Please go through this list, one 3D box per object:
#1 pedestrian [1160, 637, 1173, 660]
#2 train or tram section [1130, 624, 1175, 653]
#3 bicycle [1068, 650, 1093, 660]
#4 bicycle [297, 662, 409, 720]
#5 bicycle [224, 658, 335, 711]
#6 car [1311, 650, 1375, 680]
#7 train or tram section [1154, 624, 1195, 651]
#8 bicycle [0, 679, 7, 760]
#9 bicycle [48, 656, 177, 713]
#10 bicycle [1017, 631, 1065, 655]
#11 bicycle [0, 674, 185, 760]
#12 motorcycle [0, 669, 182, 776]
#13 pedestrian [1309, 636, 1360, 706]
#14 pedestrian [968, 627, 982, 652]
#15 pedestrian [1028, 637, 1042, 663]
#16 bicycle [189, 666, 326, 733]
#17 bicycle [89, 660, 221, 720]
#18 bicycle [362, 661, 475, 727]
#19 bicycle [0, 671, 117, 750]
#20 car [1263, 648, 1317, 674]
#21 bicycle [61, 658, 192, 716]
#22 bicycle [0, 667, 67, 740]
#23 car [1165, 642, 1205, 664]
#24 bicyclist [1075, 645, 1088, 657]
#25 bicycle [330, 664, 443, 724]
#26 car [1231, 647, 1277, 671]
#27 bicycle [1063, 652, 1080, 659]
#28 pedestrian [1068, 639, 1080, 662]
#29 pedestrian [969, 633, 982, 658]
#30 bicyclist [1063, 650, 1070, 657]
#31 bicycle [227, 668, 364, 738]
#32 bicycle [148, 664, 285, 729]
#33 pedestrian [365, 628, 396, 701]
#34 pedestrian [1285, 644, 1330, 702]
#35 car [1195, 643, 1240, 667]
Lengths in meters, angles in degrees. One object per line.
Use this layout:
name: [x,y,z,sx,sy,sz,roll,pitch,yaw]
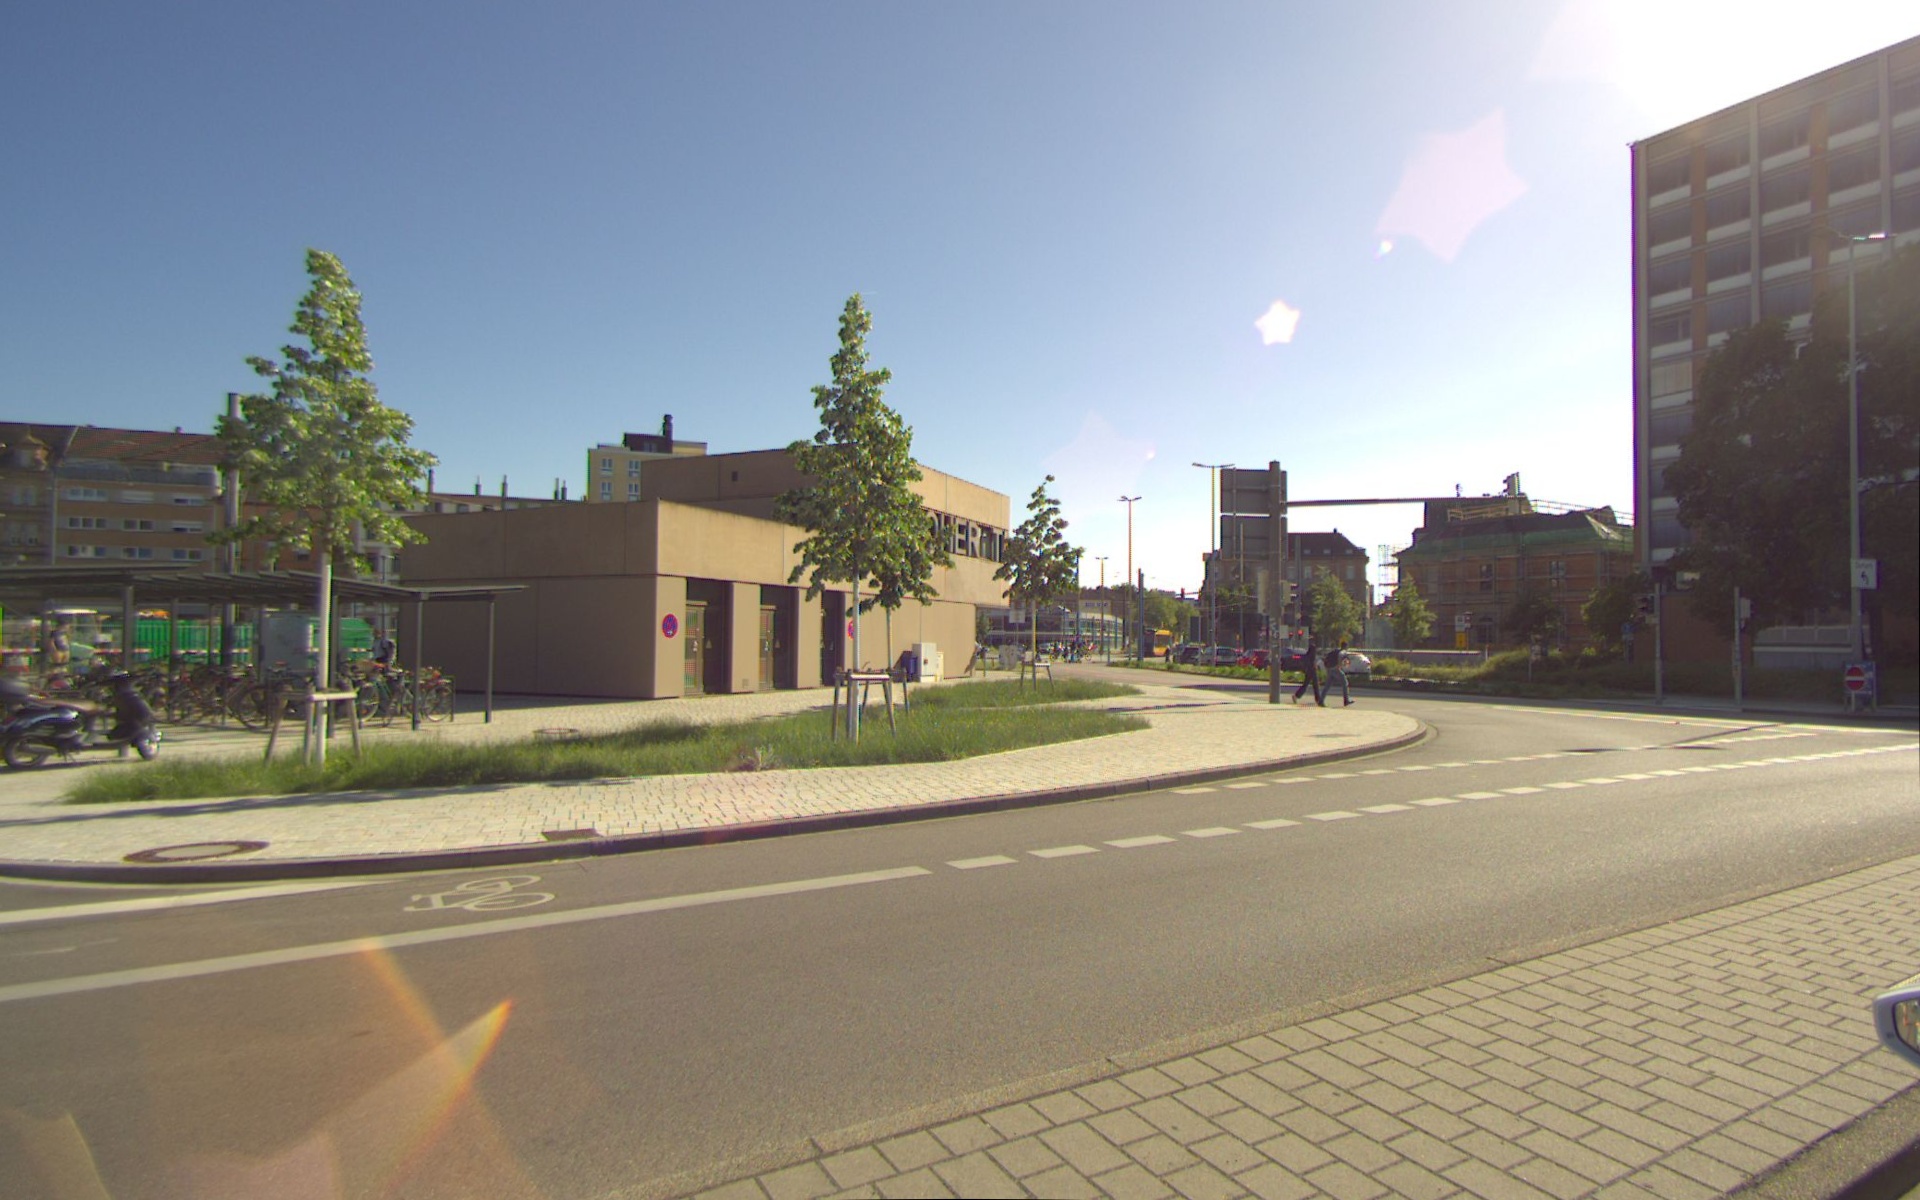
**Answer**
pedestrian: [17.312,4.035,84.098,0.861,1.889,0.731,1,-2,-4]
train or tram section: [23.986,4.721,124.644,2.651,3.275,10.589,2,0,27]
bicycle: [11.656,5.312,97.230,2.207,0.894,0.892,1,-2,-19]
bicycle: [-11.792,1.744,19.577,0.449,1.022,1.902,0,-2,26]
bicycle: [-14.068,1.729,20.829,0.449,1.022,1.902,0,-2,26]
car: [21.258,3.595,55.933,1.760,1.528,3.880,1,-2,-6]
train or tram section: [28.694,4.911,134.149,2.651,3.275,10.589,2,0,27]
bicycle: [-12.741,1.485,12.004,0.449,1.022,1.902,0,-2,26]
bicycle: [-16.695,1.639,19.839,0.449,1.022,1.902,0,-2,26]
bicycle: [7.297,3.875,90.461,3.922,2.040,2.000,0,-2,22]
bicycle: [-11.810,1.557,13.724,0.449,1.022,1.902,0,-2,26]
motorcycle: [-10.915,1.476,12.470,0.508,1.166,1.947,0,-2,25]
pedestrian: [9.630,1.816,25.853,1.044,1.753,0.652,1,-2,-16]
pedestrian: [1.220,3.237,82.293,1.023,2.040,0.724,1,-2,-9]
pedestrian: [6.107,4.072,81.654,1.023,2.040,0.724,1,-2,-9]
bicycle: [-11.884,1.653,17.059,0.449,1.022,1.902,0,-2,26]
bicycle: [-15.076,1.656,18.865,0.449,1.022,1.902,0,-2,26]
bicycle: [-9.922,1.697,18.490,0.449,1.112,1.902,0,-2,26]
bicycle: [-13.024,1.537,14.015,0.449,1.022,1.902,0,-2,26]
car: [20.585,3.769,62.789,1.760,1.528,3.880,1,-2,-6]
bicycle: [-15.912,1.644,19.240,0.449,1.022,1.902,0,-2,26]
bicycle: [-14.154,1.509,14.446,0.449,1.022,1.902,0,-2,26]
car: [16.787,3.932,74.997,1.760,1.528,3.880,1,-2,-6]
bicyclist: [11.738,4.933,97.269,0.953,1.182,0.892,1,-2,-19]
bicycle: [-10.702,1.735,18.819,0.449,1.022,1.902,0,-2,26]
car: [20.216,4.034,69.250,1.760,1.528,3.880,1,-2,-6]
bicycle: [9.406,4.677,84.562,1.381,0.556,0.435,0,-2,11]
pedestrian: [9.439,4.165,83.313,0.862,1.889,0.730,1,-2,-9]
pedestrian: [1.288,3.781,83.869,1.023,2.040,0.724,1,-2,-9]
bicyclist: [8.994,4.521,84.649,0.560,0.556,0.431,0,-2,11]
bicycle: [-10.906,1.663,16.570,0.449,1.022,1.902,0,-2,26]
bicycle: [-12.894,1.649,17.490,0.449,1.022,1.902,0,-2,26]
pedestrian: [-16.414,1.810,28.453,0.710,2.040,0.682,1,-2,-30]
pedestrian: [9.469,1.989,27.404,0.964,1.547,0.652,1,-2,-16]
car: [17.468,3.696,68.270,1.760,1.528,3.880,1,-2,-6]
